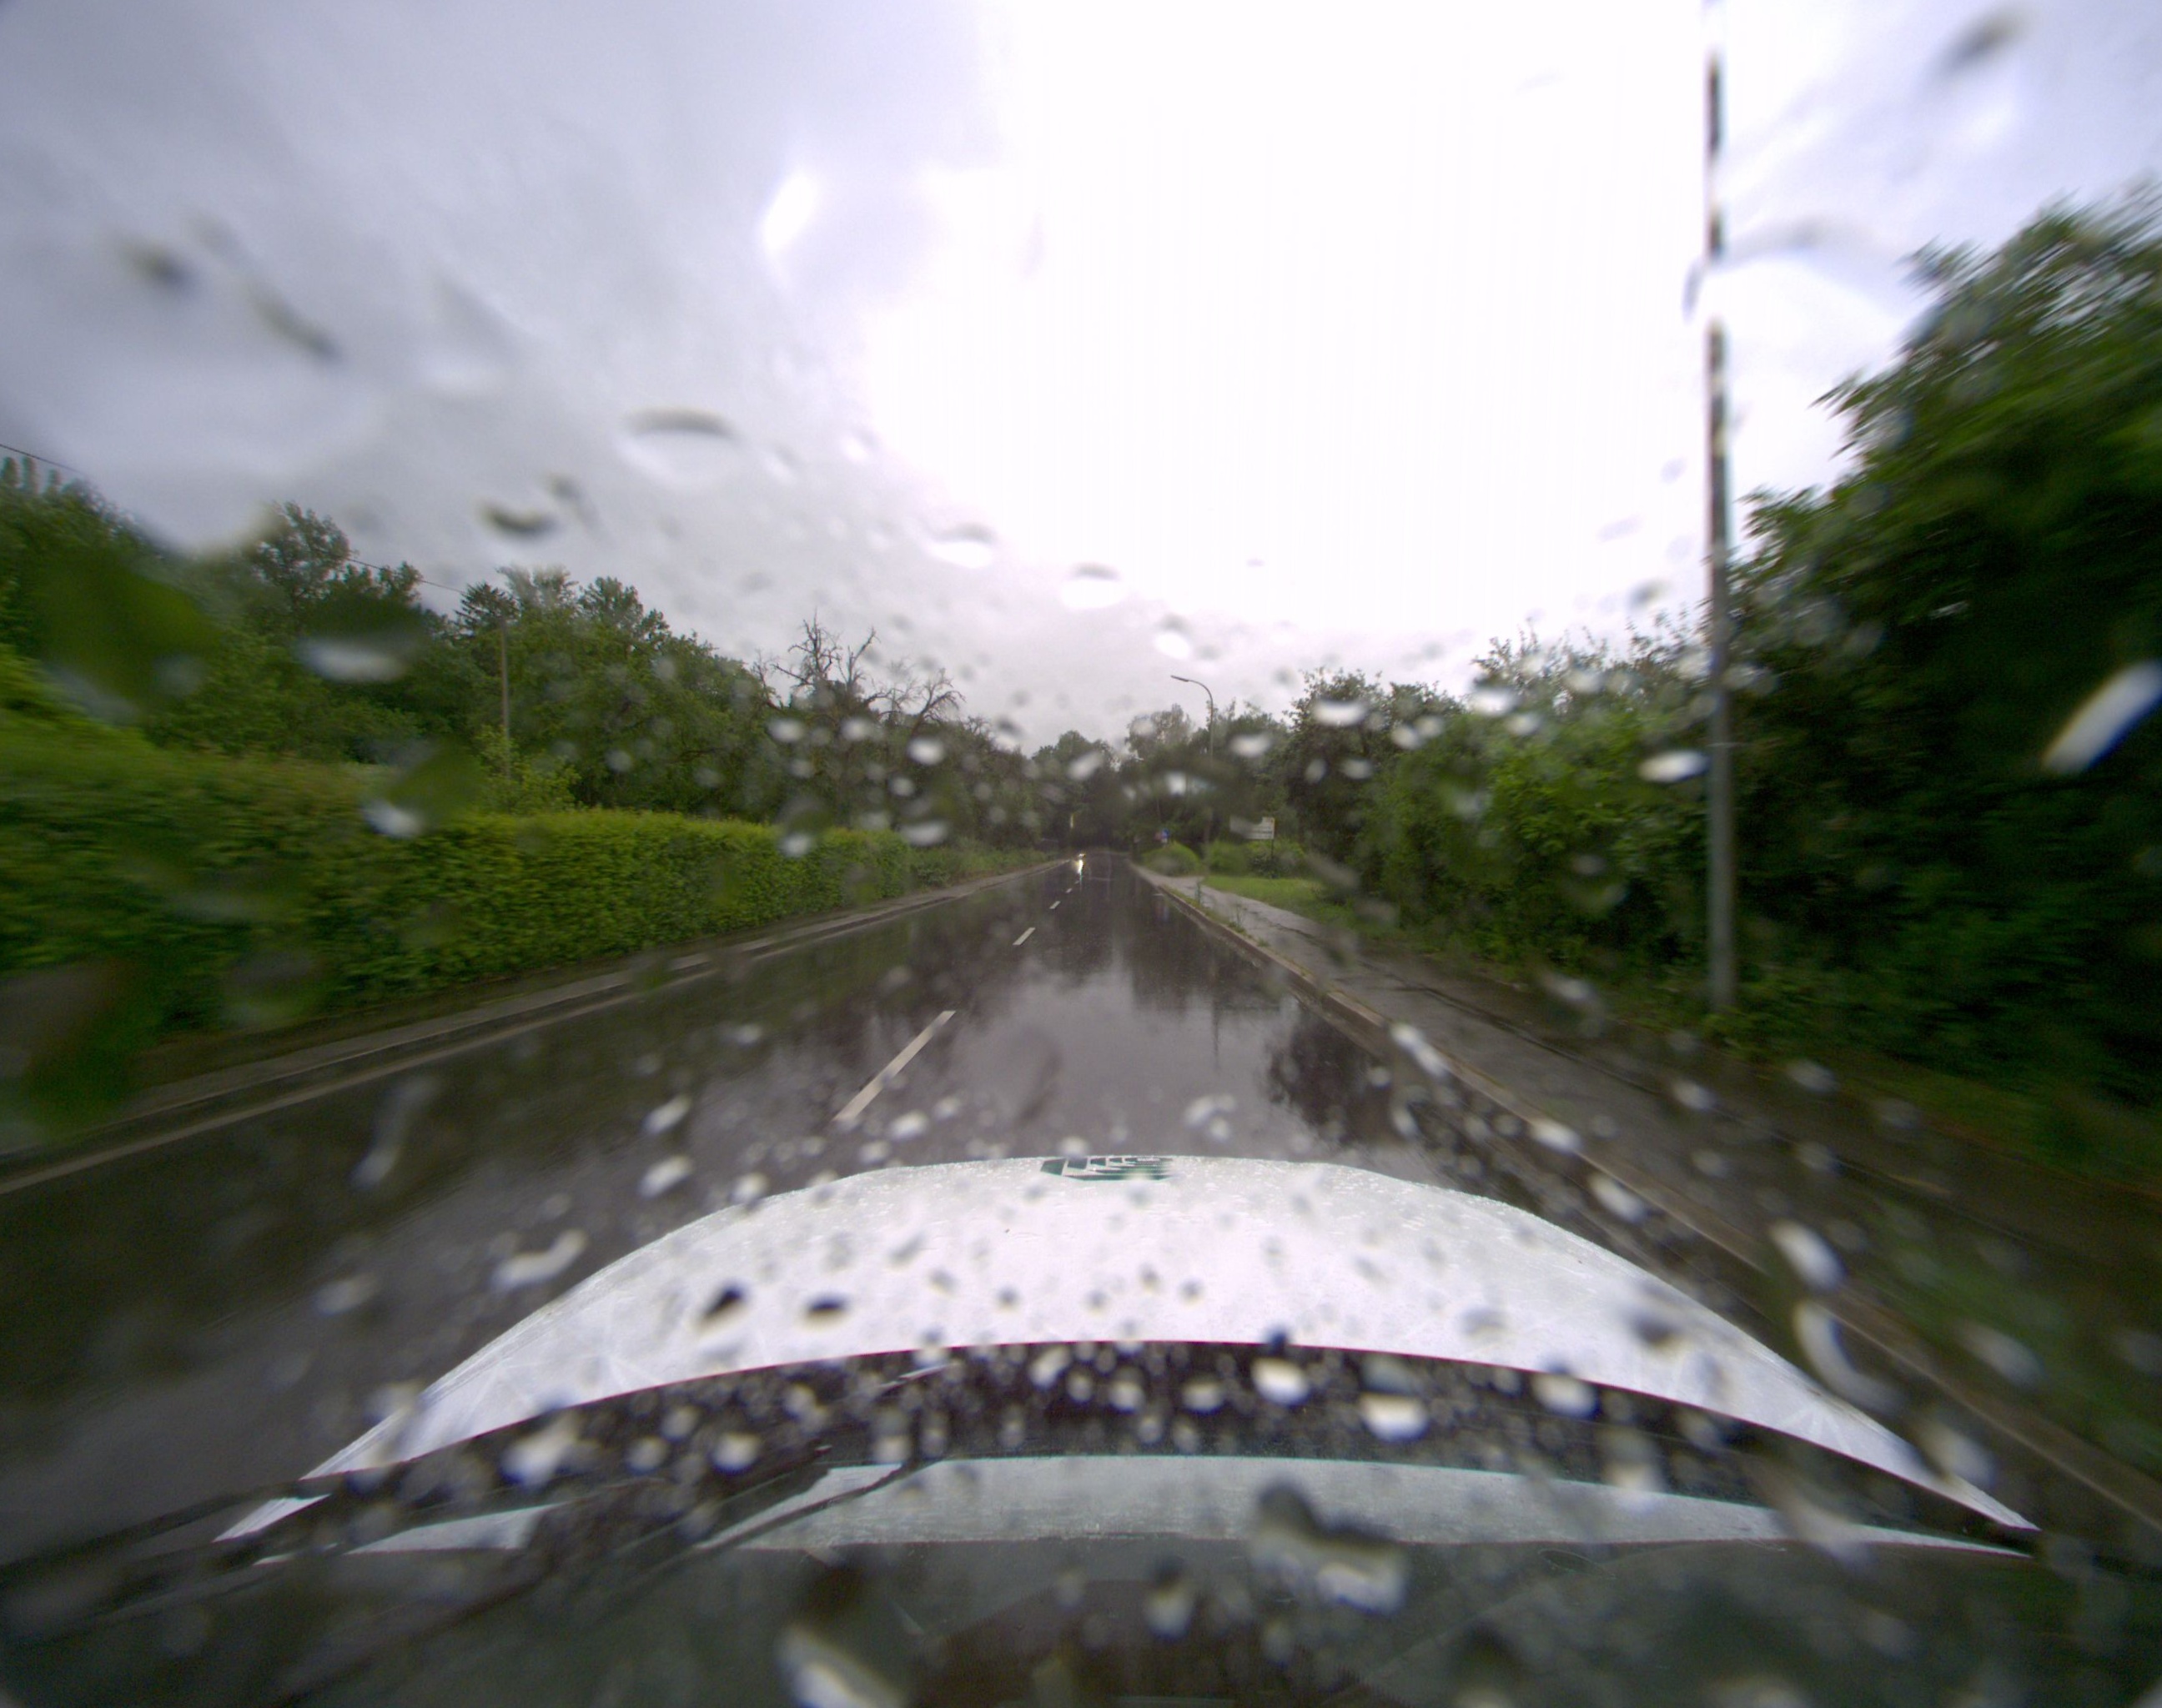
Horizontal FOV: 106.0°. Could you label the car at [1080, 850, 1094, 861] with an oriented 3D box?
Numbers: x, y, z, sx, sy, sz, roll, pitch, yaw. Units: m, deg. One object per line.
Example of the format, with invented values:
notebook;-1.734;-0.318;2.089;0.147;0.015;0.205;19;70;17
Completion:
car;0.988;0.196;122.627;1.986;1.454;4.430;0;1;2
